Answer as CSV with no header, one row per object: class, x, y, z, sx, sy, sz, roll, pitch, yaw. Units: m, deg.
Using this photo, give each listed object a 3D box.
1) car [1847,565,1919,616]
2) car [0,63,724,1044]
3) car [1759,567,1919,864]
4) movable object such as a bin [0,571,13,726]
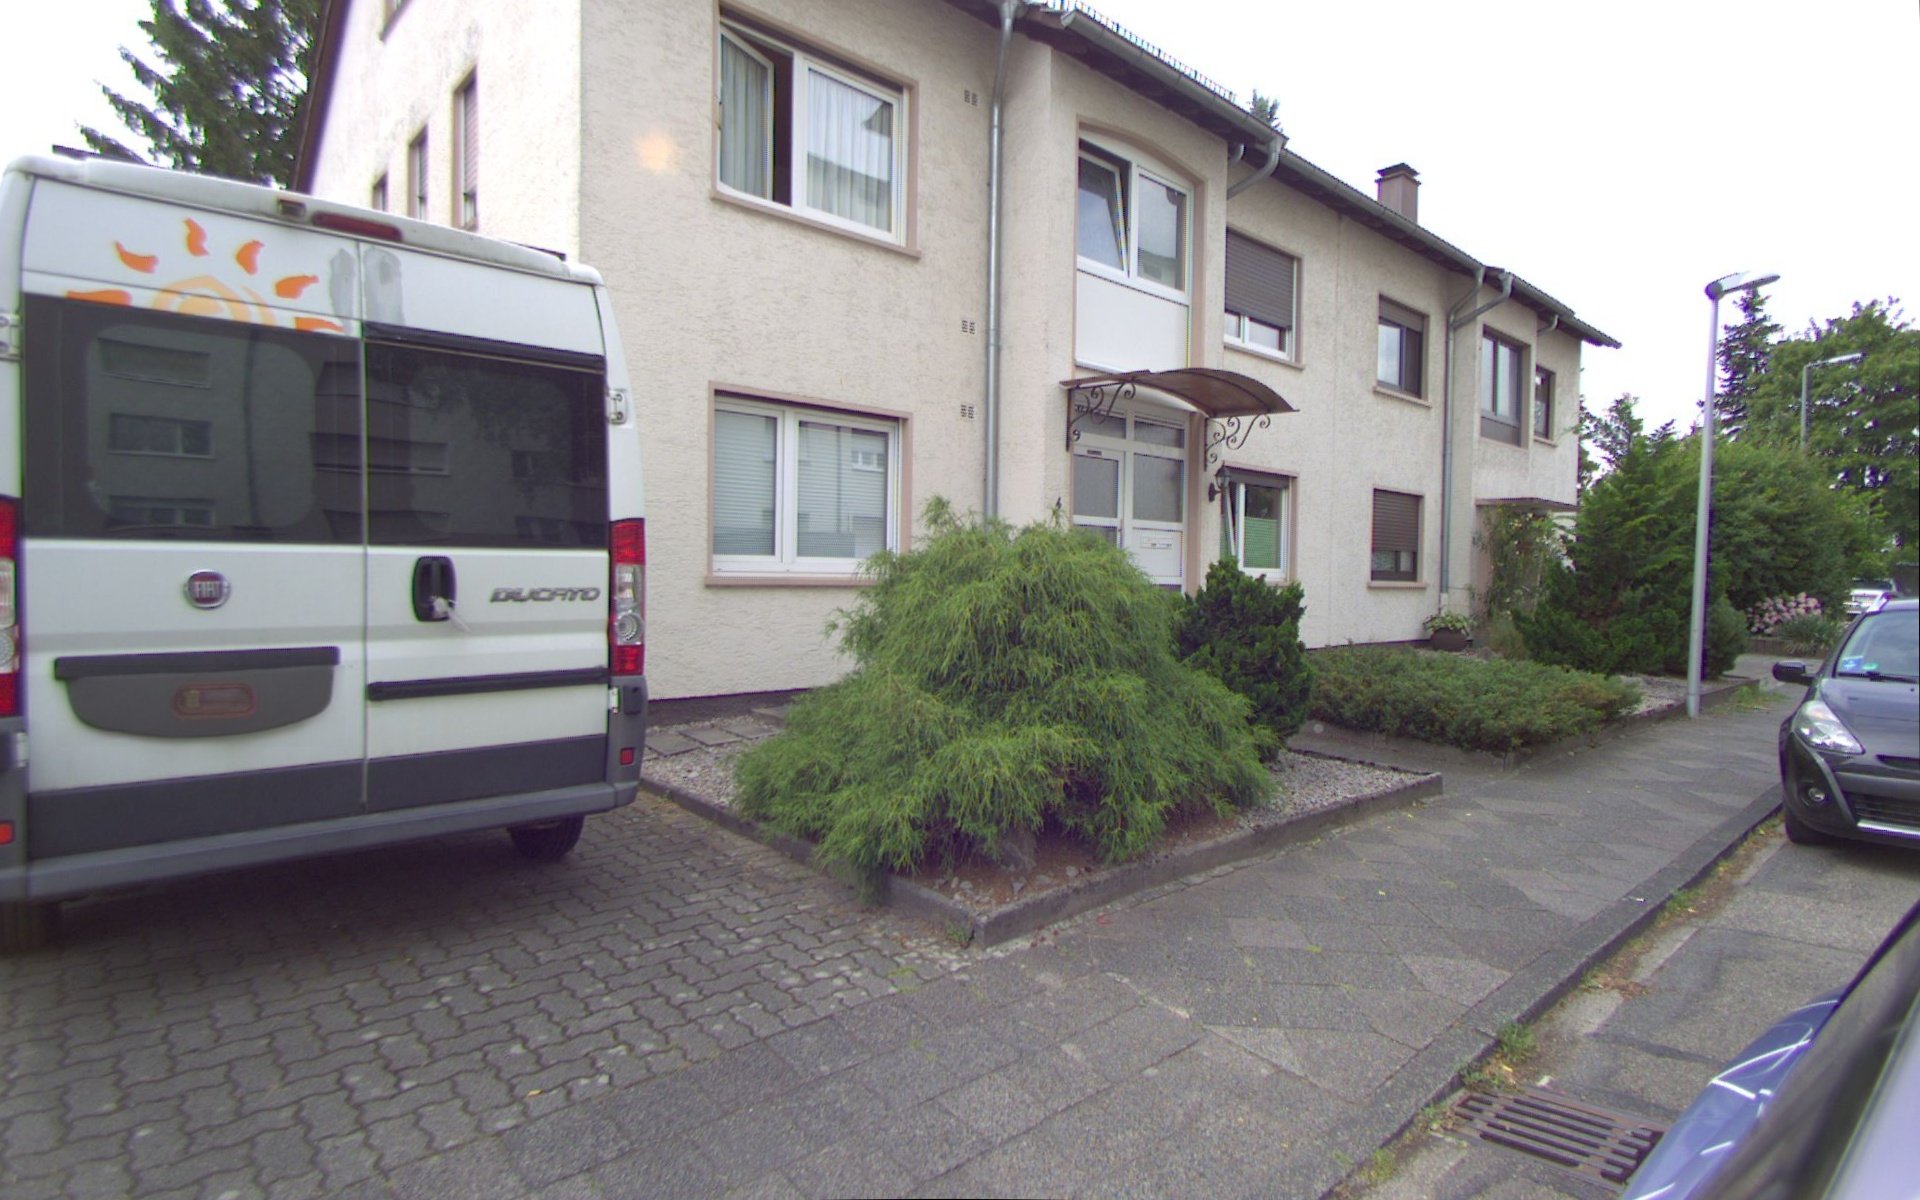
car,30.416,-0.355,33.183,3.936,1.484,1.702,-3,4,-45
car,-3.453,-0.252,5.234,2.199,2.573,5.098,0,3,-41
car,6.431,0.557,6.264,4.122,1.476,1.831,-1,1,-44
movable object such as a bin,-7.046,0.340,7.123,0.537,1.069,0.456,-1,4,-43
